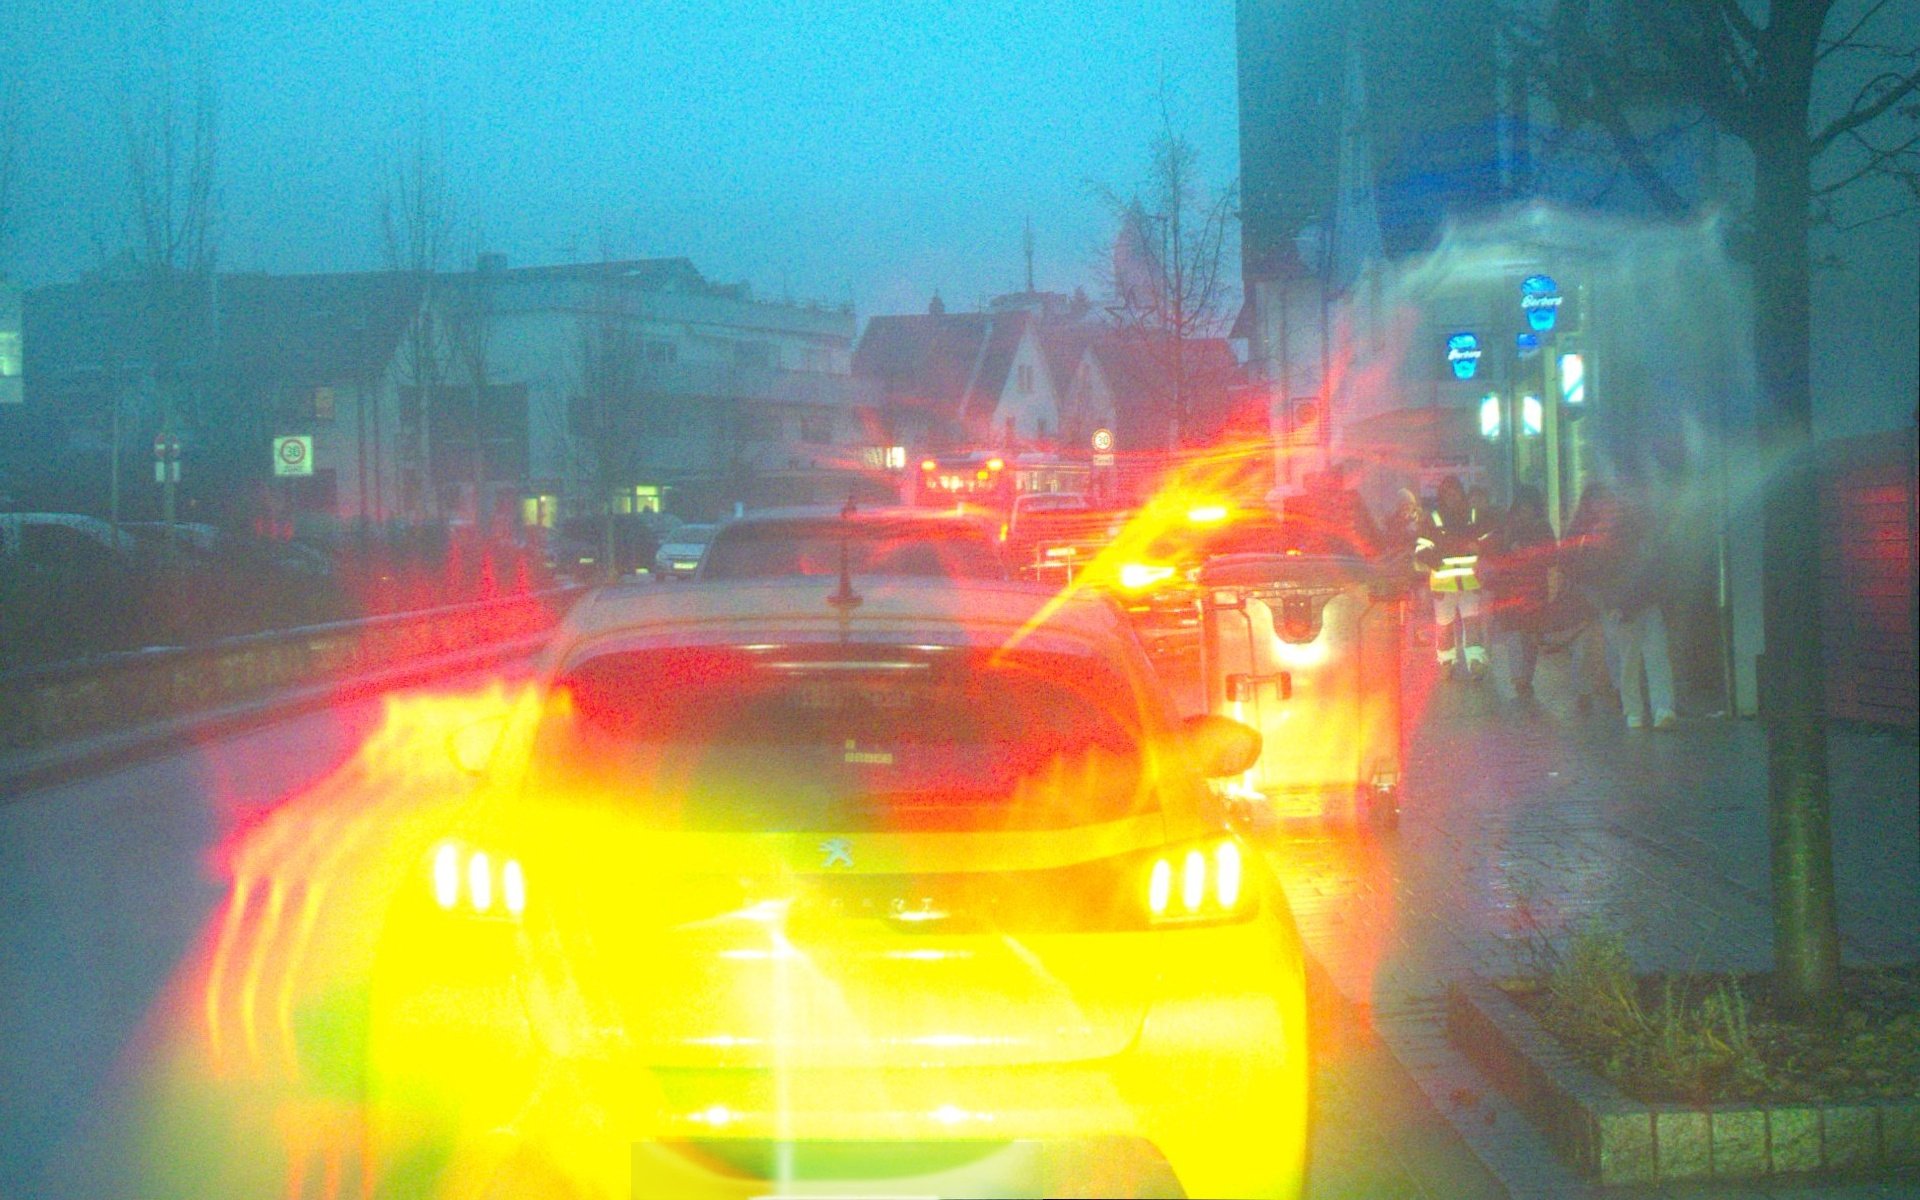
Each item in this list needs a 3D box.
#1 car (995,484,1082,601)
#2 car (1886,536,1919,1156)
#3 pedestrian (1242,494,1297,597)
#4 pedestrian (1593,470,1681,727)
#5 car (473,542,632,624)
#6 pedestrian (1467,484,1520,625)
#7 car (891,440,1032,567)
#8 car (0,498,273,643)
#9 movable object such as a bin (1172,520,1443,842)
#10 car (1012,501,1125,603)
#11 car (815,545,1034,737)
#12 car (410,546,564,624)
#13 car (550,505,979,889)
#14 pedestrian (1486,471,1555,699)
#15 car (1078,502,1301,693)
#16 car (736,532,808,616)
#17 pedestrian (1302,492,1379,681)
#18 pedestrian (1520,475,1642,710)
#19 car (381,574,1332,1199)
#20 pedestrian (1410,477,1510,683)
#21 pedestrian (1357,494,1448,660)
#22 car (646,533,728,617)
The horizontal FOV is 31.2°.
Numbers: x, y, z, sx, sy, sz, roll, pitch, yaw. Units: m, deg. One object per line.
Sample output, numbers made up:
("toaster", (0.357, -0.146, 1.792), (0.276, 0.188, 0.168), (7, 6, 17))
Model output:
("car", (1.744, -1.258, 77.452), (1.870, 2.460, 4.443), (1, -1, 1))
("car", (2.468, 0.627, 3.900), (1.728, 1.459, 4.199), (-3, 1, 2))
("pedestrian", (4.621, -0.815, 51.337), (0.618, 1.510, 0.734), (-1, 2, -14))
("pedestrian", (4.435, -0.001, 22.558), (0.529, 1.647, 0.953), (0, -1, 9))
("car", (-11.234, -0.446, 94.651), (4.383, 2.159, 1.995), (0, -2, 44))
("pedestrian", (6.554, -0.555, 42.227), (0.618, 1.721, 0.501), (0, -1, 12))
("car", (0.108, -2.466, 90.264), (3.191, 3.021, 6.304), (0, -1, 5))
("car", (-10.605, -0.350, 40.650), (4.625, 1.662, 2.000), (0, 0, -3))
("movable object such as a bin", (1.670, 0.364, 16.797), (1.129, 1.415, 1.417), (-4, 2, 2))
("car", (2.026, -0.904, 65.159), (1.997, 1.858, 4.083), (0, 1, 0))
("car", (-0.268, 0.263, 26.056), (1.541, 1.327, 3.311), (1, 1, -1))
("car", (-12.571, -0.376, 91.262), (4.166, 1.969, 1.818), (0, -2, 44))
("car", (-0.829, 0.375, 16.520), (1.766, 1.623, 3.586), (1, 1, 1))
("pedestrian", (4.491, -0.132, 27.544), (0.529, 1.794, 0.864), (0, 1, 9))
("car", (2.141, -0.060, 33.147), (1.735, 1.686, 4.386), (-1, 1, -1))
("car", (-5.203, -0.693, 95.643), (1.919, 2.208, 3.975), (1, -1, -2))
("pedestrian", (3.503, -0.128, 31.655), (0.573, 1.694, 0.653), (-3, 0, 1))
("pedestrian", (4.585, -0.057, 25.442), (0.747, 1.673, 1.052), (-2, 0, 6))
("car", (-0.187, 0.677, 7.198), (1.563, 1.408, 3.018), (1, 1, 0))
("pedestrian", (4.274, -0.184, 29.352), (0.712, 1.709, 1.034), (-2, 2, 13))
("pedestrian", (4.415, -0.240, 34.352), (0.618, 1.621, 0.907), (-1, 2, -14))
("car", (-6.942, -0.610, 87.874), (1.919, 2.021, 3.975), (1, -1, -2))
